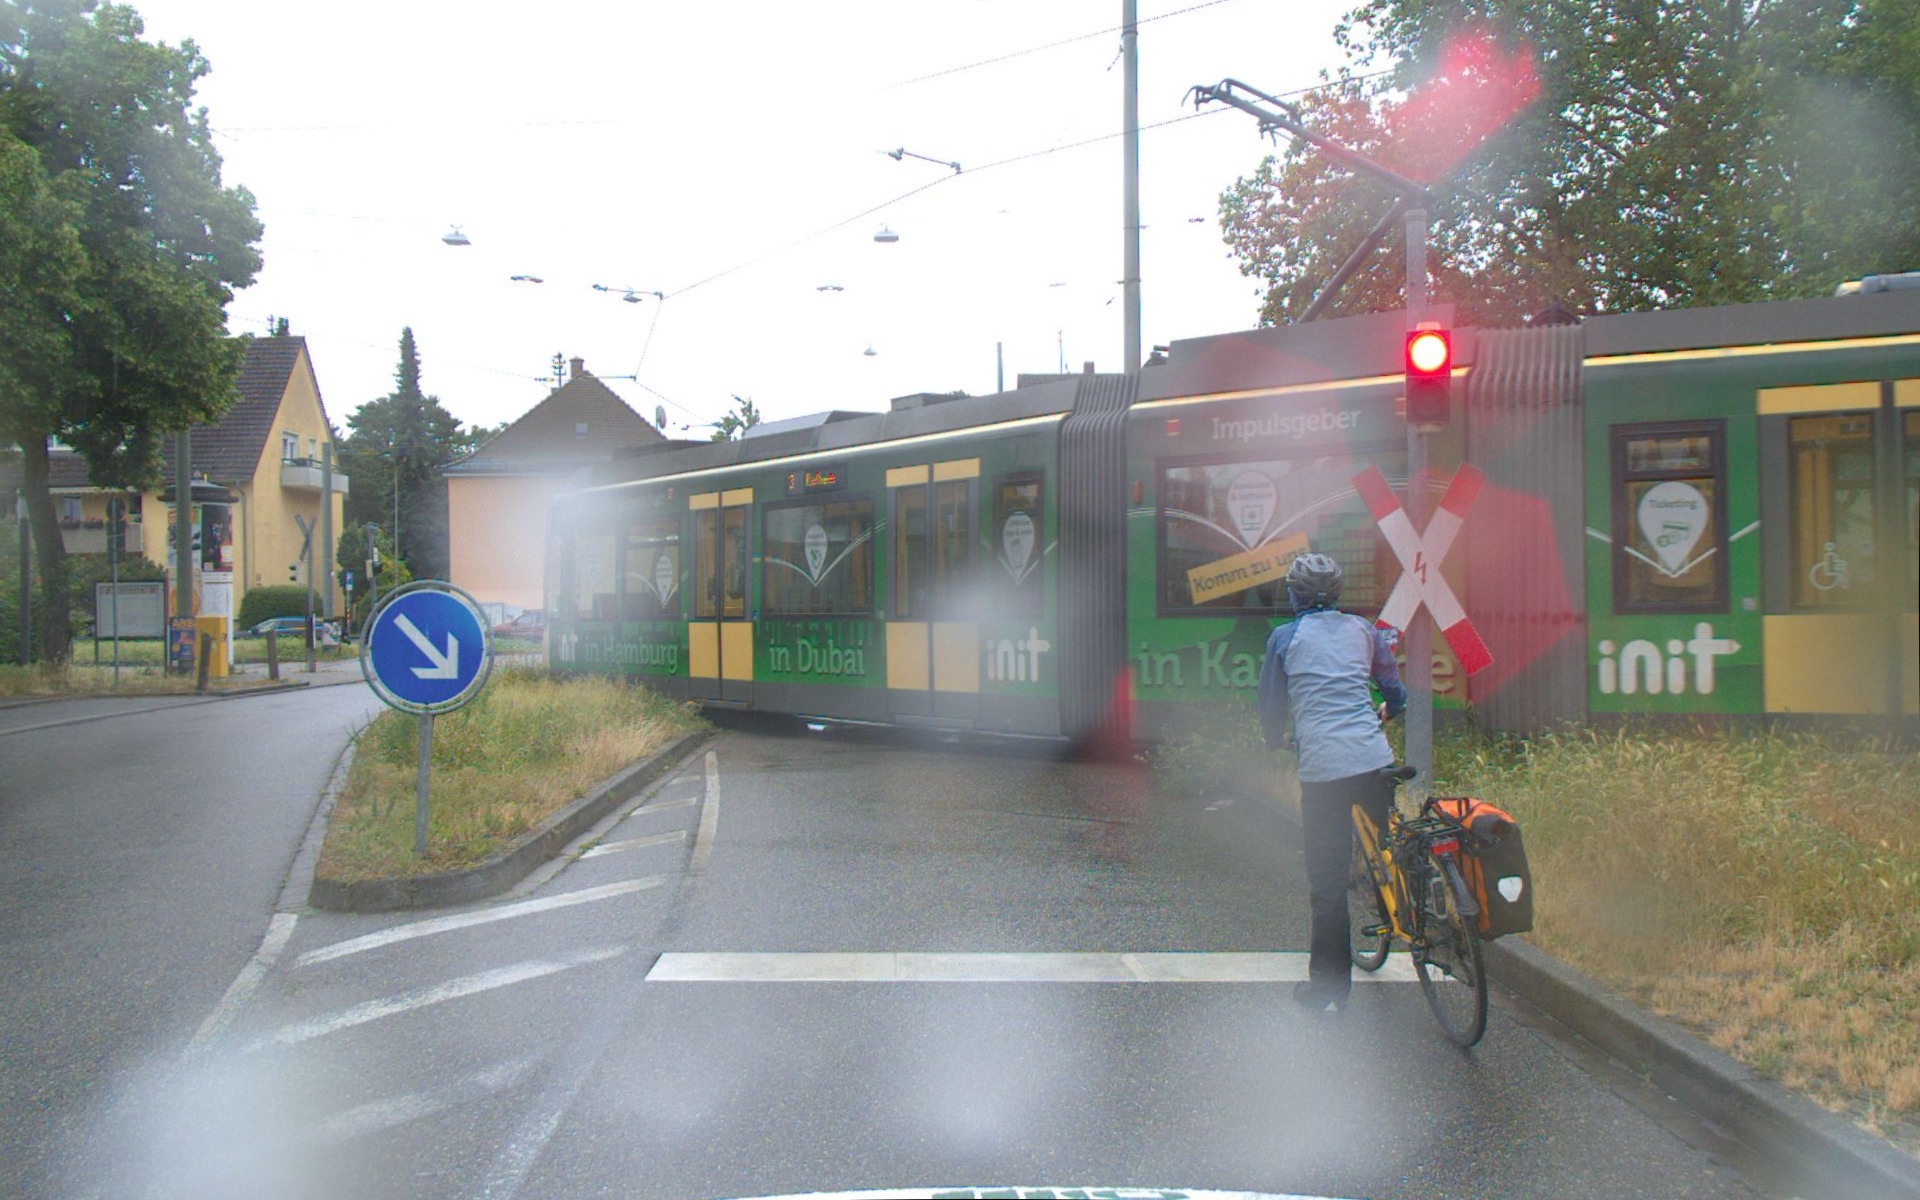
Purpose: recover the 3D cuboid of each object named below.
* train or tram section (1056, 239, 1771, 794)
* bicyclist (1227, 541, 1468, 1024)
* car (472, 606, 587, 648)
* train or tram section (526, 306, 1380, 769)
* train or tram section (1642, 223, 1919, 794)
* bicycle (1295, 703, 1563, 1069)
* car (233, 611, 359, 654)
[{"bbox_3d":[3.595,-0.520,13.306,4.886,3.615,2.761,-1,0,35],"label":"train or tram section"},{"bbox_3d":[1.407,0.633,6.136,0.653,1.654,0.852,1,-1,-2],"label":"bicyclist"},{"bbox_3d":[-16.182,1.002,62.333,3.911,1.482,1.831,1,0,-7],"label":"car"},{"bbox_3d":[-1.220,-0.433,18.993,2.739,3.615,12.963,-1,0,-36],"label":"train or tram section"},{"bbox_3d":[10.616,-0.672,9.980,11.919,3.615,2.768,-1,0,24],"label":"train or tram section"},{"bbox_3d":[1.655,0.955,6.080,0.437,1.022,1.727,-1,1,-2],"label":"bicycle"},{"bbox_3d":[-24.437,1.185,60.962,3.911,1.482,1.831,1,0,-7],"label":"car"}]
